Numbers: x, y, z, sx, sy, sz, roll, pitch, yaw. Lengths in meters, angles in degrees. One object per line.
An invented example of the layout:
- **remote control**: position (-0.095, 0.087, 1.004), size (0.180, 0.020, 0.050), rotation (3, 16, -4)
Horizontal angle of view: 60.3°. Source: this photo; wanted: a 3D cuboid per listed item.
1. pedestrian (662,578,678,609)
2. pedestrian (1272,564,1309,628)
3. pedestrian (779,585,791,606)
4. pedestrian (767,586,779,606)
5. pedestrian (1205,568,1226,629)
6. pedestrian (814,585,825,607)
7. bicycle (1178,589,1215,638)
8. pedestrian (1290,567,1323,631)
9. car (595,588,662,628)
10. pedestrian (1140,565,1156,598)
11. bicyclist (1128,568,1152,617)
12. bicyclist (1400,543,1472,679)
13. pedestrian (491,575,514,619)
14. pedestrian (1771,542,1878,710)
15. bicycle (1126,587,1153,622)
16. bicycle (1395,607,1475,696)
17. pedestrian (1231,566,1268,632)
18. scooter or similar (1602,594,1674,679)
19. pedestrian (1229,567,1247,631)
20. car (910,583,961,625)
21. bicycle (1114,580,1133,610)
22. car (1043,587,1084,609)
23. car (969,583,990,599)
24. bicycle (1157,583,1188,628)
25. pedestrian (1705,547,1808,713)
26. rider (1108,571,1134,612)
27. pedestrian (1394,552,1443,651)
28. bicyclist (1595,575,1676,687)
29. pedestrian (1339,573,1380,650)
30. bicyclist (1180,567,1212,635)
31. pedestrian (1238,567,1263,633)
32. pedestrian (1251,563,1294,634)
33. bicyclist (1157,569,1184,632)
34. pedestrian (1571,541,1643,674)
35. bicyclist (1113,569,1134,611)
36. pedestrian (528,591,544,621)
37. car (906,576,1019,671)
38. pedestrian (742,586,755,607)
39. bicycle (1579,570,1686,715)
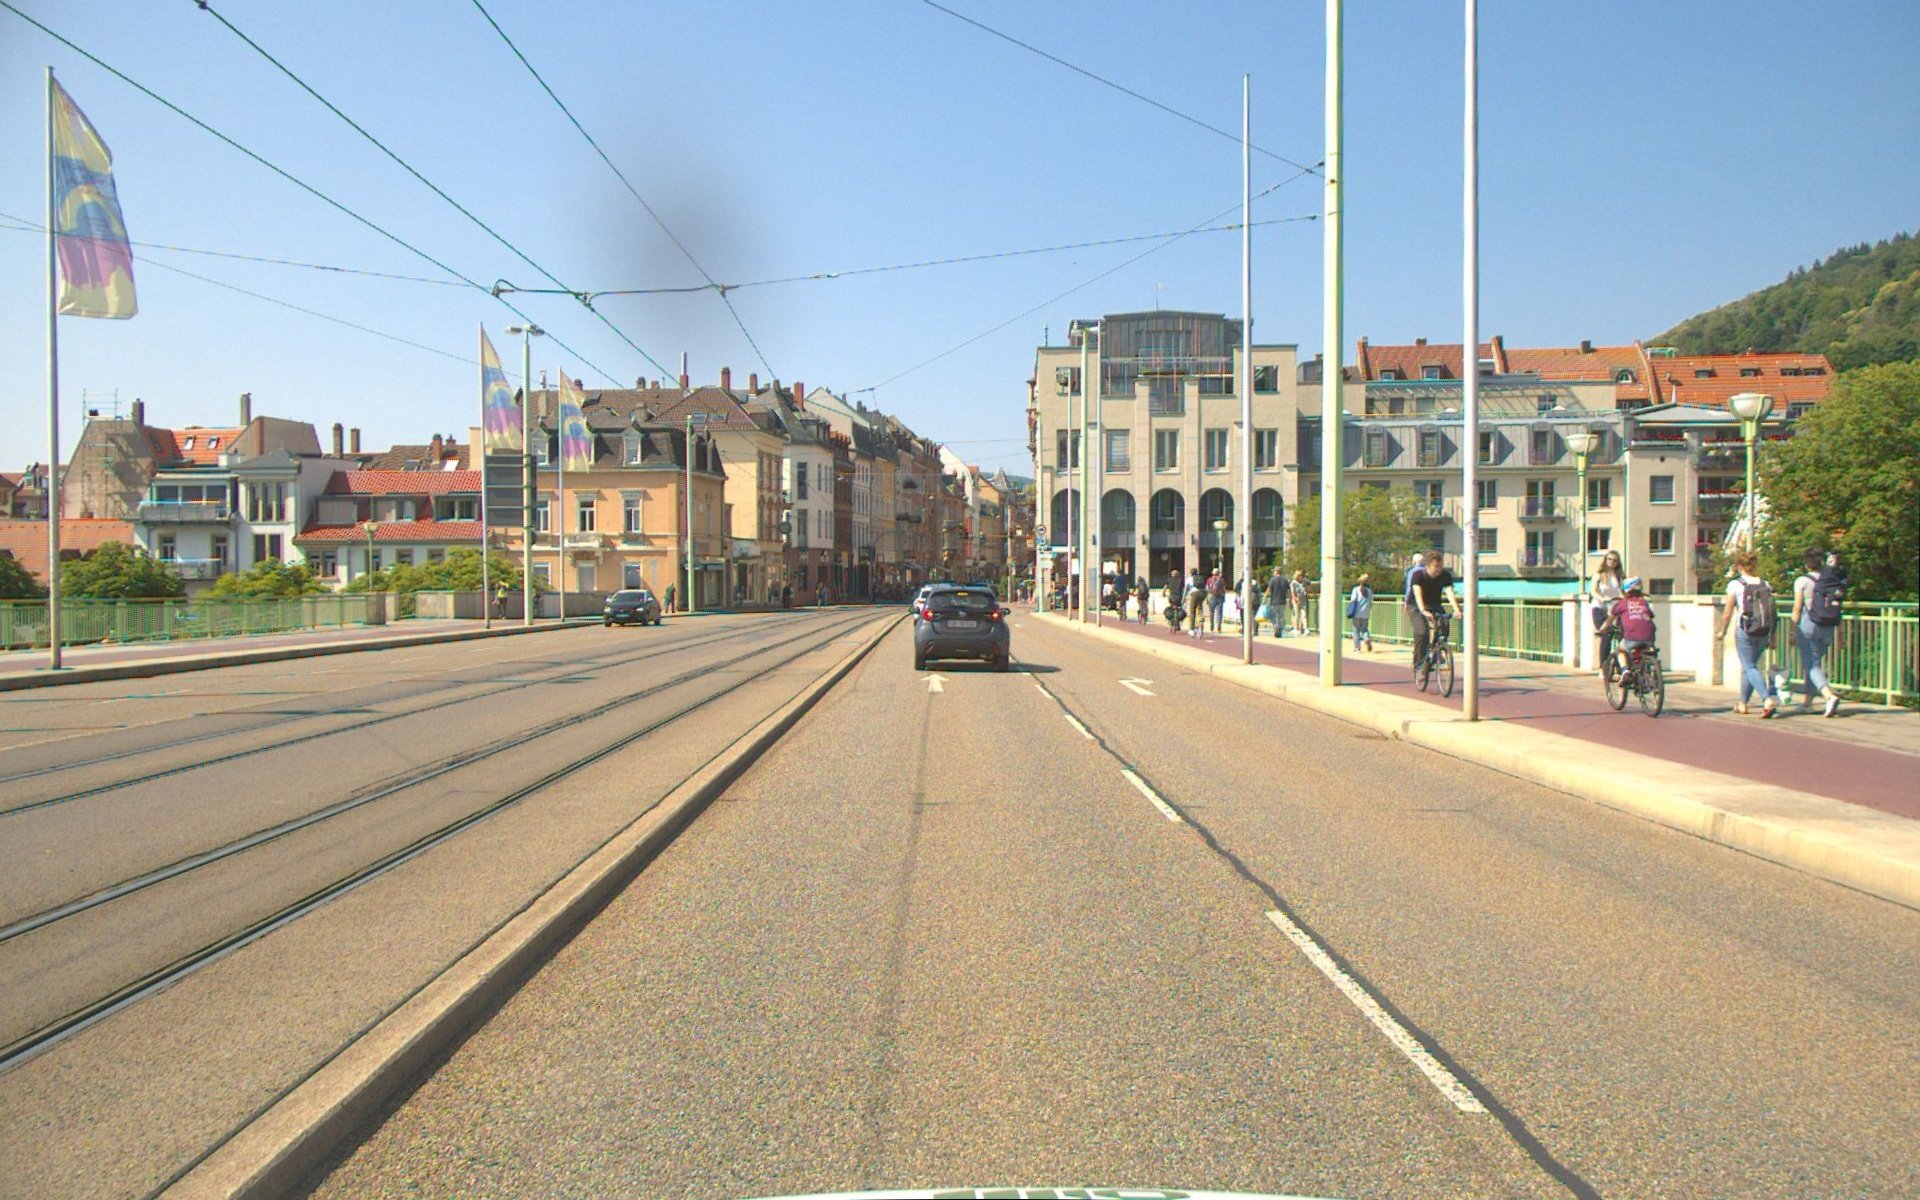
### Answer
- **pedestrian**: position (-15.951, -0.335, 90.880), size (0.747, 1.694, 0.663), rotation (0, 1, 1)
- **pedestrian**: position (8.872, -0.111, 44.446), size (0.817, 1.719, 0.869), rotation (0, 1, -1)
- **pedestrian**: position (-12.317, -0.304, 116.297), size (0.747, 1.422, 0.663), rotation (0, 1, 1)
- **pedestrian**: position (-13.216, -0.280, 116.964), size (0.747, 1.422, 0.663), rotation (0, 1, 1)
- **pedestrian**: position (7.257, -0.053, 47.026), size (0.417, 1.701, 0.620), rotation (3, 0, -1)
- **pedestrian**: position (-11.027, -0.305, 129.638), size (0.747, 1.728, 0.663), rotation (0, 1, 1)
- **bicycle**: position (5.998, 0.330, 41.991), size (0.581, 1.198, 1.939), rotation (0, 1, -2)
- **pedestrian**: position (9.096, -0.033, 43.428), size (0.698, 1.680, 0.848), rotation (0, 1, 0)
- **car**: position (-13.297, 0.303, 66.527), size (1.953, 1.505, 3.999), rotation (0, 1, -2)
- **pedestrian**: position (8.444, -0.842, 74.291), size (0.643, 1.476, 0.644), rotation (0, 1, -4)
- **bicyclist**: position (6.293, -0.254, 57.941), size (0.701, 1.705, 0.868), rotation (0, 1, -2)
- **bicyclist**: position (5.842, 0.128, 20.351), size (0.639, 1.594, 1.339), rotation (-2, 0, 8)
- **pedestrian**: position (-19.031, -0.125, 68.822), size (0.747, 1.818, 0.663), rotation (0, 1, 1)
- **pedestrian**: position (8.571, 0.243, 16.427), size (0.587, 1.613, 0.866), rotation (0, 1, -3)
- **bicycle**: position (6.293, 0.154, 57.968), size (0.653, 1.198, 2.028), rotation (0, 1, -2)
- **bicycle**: position (5.900, 0.614, 20.636), size (0.639, 0.998, 2.180), rotation (-2, 0, 8)
- **pedestrian**: position (7.661, -0.032, 43.774), size (0.817, 1.719, 0.869), rotation (0, 1, -1)
- **scooter or similar**: position (8.932, 0.469, 21.817), size (0.576, 1.088, 0.865), rotation (0, 1, -3)
- **pedestrian**: position (7.958, -0.027, 47.280), size (0.360, 1.826, 0.604), rotation (1, 0, -1)
- **car**: position (-0.969, 0.124, 63.609), size (1.768, 1.494, 3.997), rotation (-2, 1, -4)
- **bicycle**: position (6.693, -0.199, 67.790), size (0.652, 1.198, 2.030), rotation (0, 1, 2)
- **car**: position (7.813, -0.148, 124.498), size (1.768, 1.494, 3.998), rotation (-1, 1, 25)
- **car**: position (1.870, -0.857, 157.879), size (1.838, 1.433, 4.003), rotation (0, 1, 4)
- **bicycle**: position (5.924, 0.131, 46.163), size (0.515, 1.198, 2.028), rotation (1, 1, -2)
- **pedestrian**: position (7.960, 0.283, 16.562), size (0.587, 1.613, 0.866), rotation (0, 1, -3)
- **rider**: position (5.993, -0.313, 61.564), size (0.871, 1.531, 0.841), rotation (0, 1, -2)
- **pedestrian**: position (8.682, 0.020, 31.352), size (0.698, 1.842, 0.848), rotation (0, 1, -1)
- **bicyclist**: position (6.931, 0.302, 16.991), size (0.586, 1.120, 0.853), rotation (0, 1, 9)
- **pedestrian**: position (7.803, 0.217, 32.323), size (0.601, 1.491, 0.848), rotation (0, 1, -1)
- **bicyclist**: position (5.997, 0.018, 42.035), size (0.643, 1.705, 0.868), rotation (0, 1, -2)
- **pedestrian**: position (7.945, -0.006, 45.220), size (0.517, 1.778, 0.728), rotation (-1, 0, -1)
- **pedestrian**: position (7.925, -0.042, 41.951), size (0.911, 1.792, 0.937), rotation (0, 1, -1)
- **bicyclist**: position (5.888, 0.003, 46.221), size (0.615, 1.719, 0.868), rotation (0, 1, -2)
- **pedestrian**: position (8.866, 0.087, 22.691), size (0.629, 1.787, 0.866), rotation (0, 1, -3)
- **bicyclist**: position (6.685, -0.402, 67.717), size (0.779, 1.705, 0.869), rotation (0, 1, 2)
- **pedestrian**: position (-18.909, 0.257, 73.767), size (0.561, 1.327, 0.543), rotation (0, 1, 1)
- **car**: position (-0.018, 0.377, 30.950), size (1.872, 1.567, 3.998), rotation (1, 2, -3)
- **pedestrian**: position (-14.519, -0.234, 113.556), size (0.747, 1.422, 0.663), rotation (0, 1, 1)
- **bicycle**: position (6.922, 0.390, 17.108), size (0.523, 1.390, 2.218), rotation (0, 1, 9)
